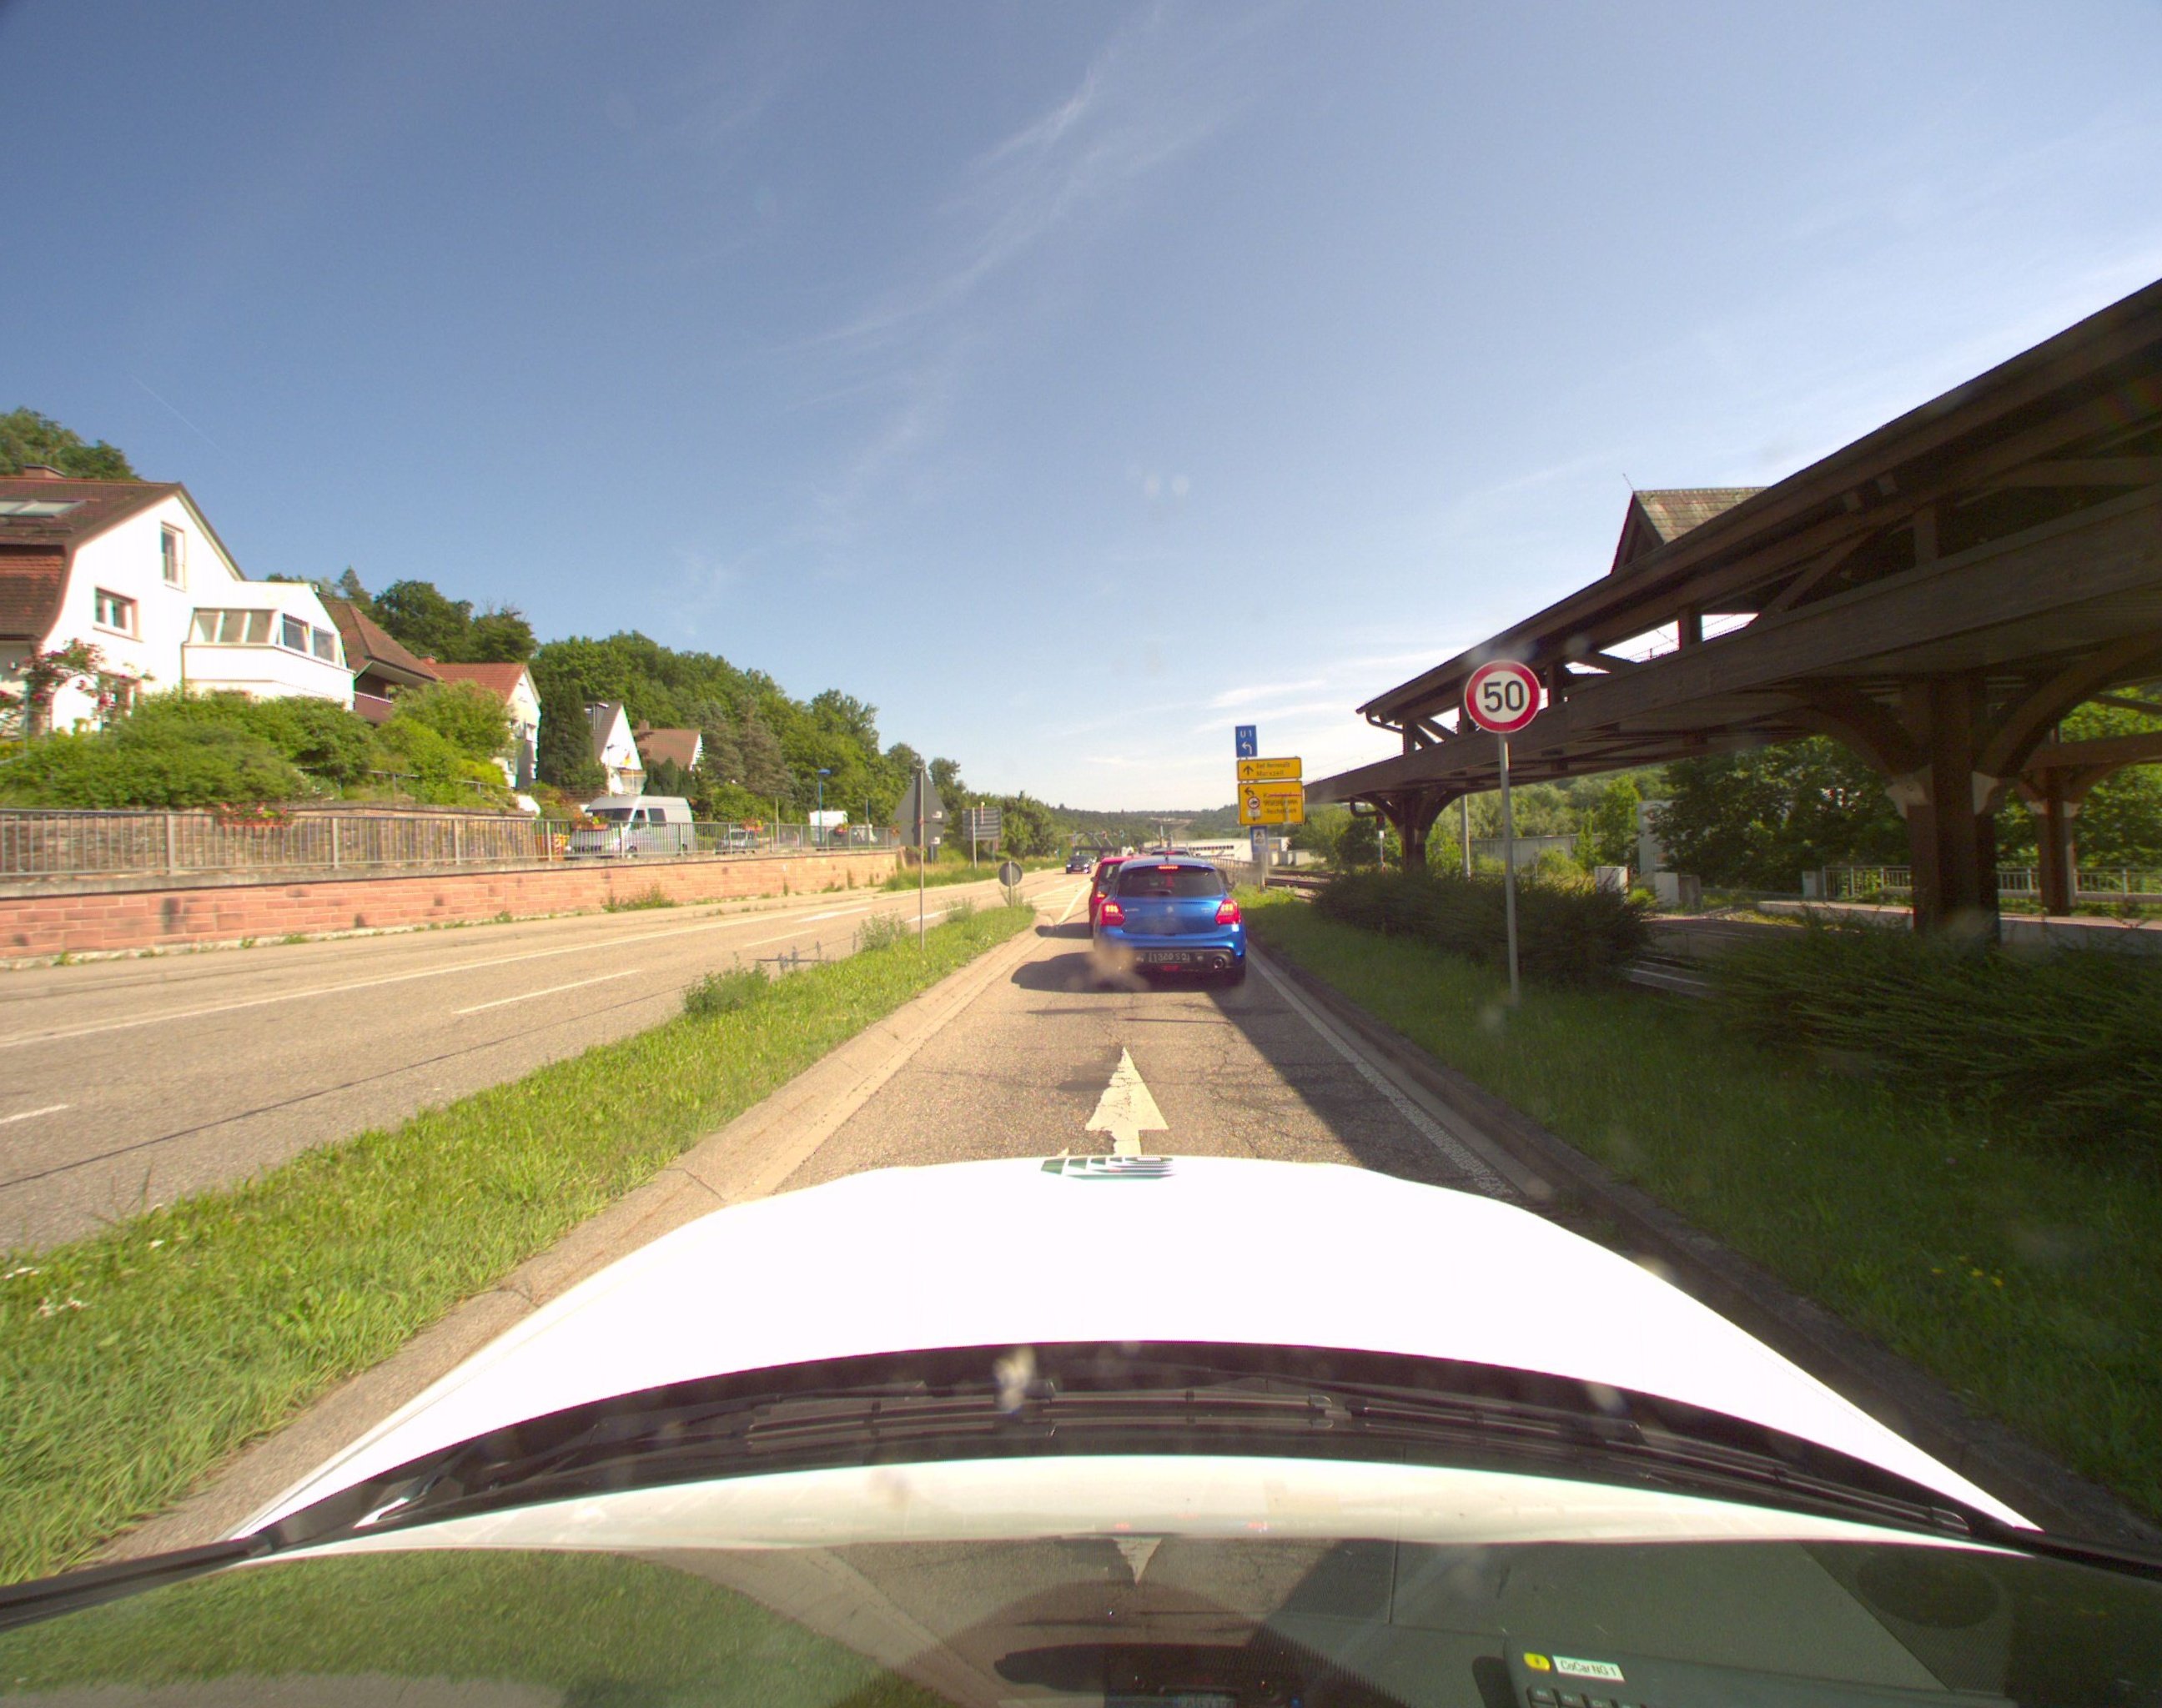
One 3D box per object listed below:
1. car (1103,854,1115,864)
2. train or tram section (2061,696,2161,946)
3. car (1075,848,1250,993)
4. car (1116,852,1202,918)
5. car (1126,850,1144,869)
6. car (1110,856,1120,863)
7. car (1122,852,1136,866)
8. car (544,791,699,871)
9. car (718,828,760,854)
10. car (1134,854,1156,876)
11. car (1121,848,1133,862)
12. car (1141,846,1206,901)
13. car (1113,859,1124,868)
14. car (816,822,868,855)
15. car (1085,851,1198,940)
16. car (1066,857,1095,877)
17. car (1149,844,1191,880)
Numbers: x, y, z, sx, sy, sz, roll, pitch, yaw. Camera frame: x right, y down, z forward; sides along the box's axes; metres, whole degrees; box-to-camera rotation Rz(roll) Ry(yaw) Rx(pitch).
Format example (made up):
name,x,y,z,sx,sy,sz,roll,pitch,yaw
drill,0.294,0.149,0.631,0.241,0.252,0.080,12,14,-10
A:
name,x,y,z,sx,sy,sz,roll,pitch,yaw
car,5.012,0.893,143.974,1.985,1.783,4.003,0,0,3
train or tram section,15.781,-0.401,6.025,2.746,3.364,12.050,1,0,1
car,0.964,0.718,10.760,1.861,1.548,4.003,-1,0,3
car,2.047,0.737,21.668,1.984,1.531,4.608,-2,0,5
car,5.987,0.620,90.706,1.985,2.013,4.004,1,1,3
car,7.382,1.204,176.484,1.985,1.591,4.003,0,0,3
car,6.909,0.727,117.168,1.985,1.816,4.004,1,1,3
car,-15.439,-0.750,27.847,2.087,2.444,5.782,1,1,-1
car,-22.832,-0.862,54.548,1.897,1.629,3.983,-1,0,-13
car,6.186,1.031,78.859,1.985,2.013,4.004,1,1,3
car,7.471,0.191,131.884,1.985,2.144,4.724,0,0,3
car,3.086,0.610,27.714,1.984,1.686,4.503,1,0,5
car,6.904,1.701,150.123,1.985,1.554,4.218,0,0,3
car,-14.714,-0.938,50.362,2.016,1.920,4.726,1,1,-3
car,1.240,0.739,16.429,1.984,1.571,4.005,0,0,5
car,0.028,0.991,65.114,1.782,1.470,4.724,-1,0,6
car,4.479,0.399,41.521,1.984,1.736,4.005,1,0,5
